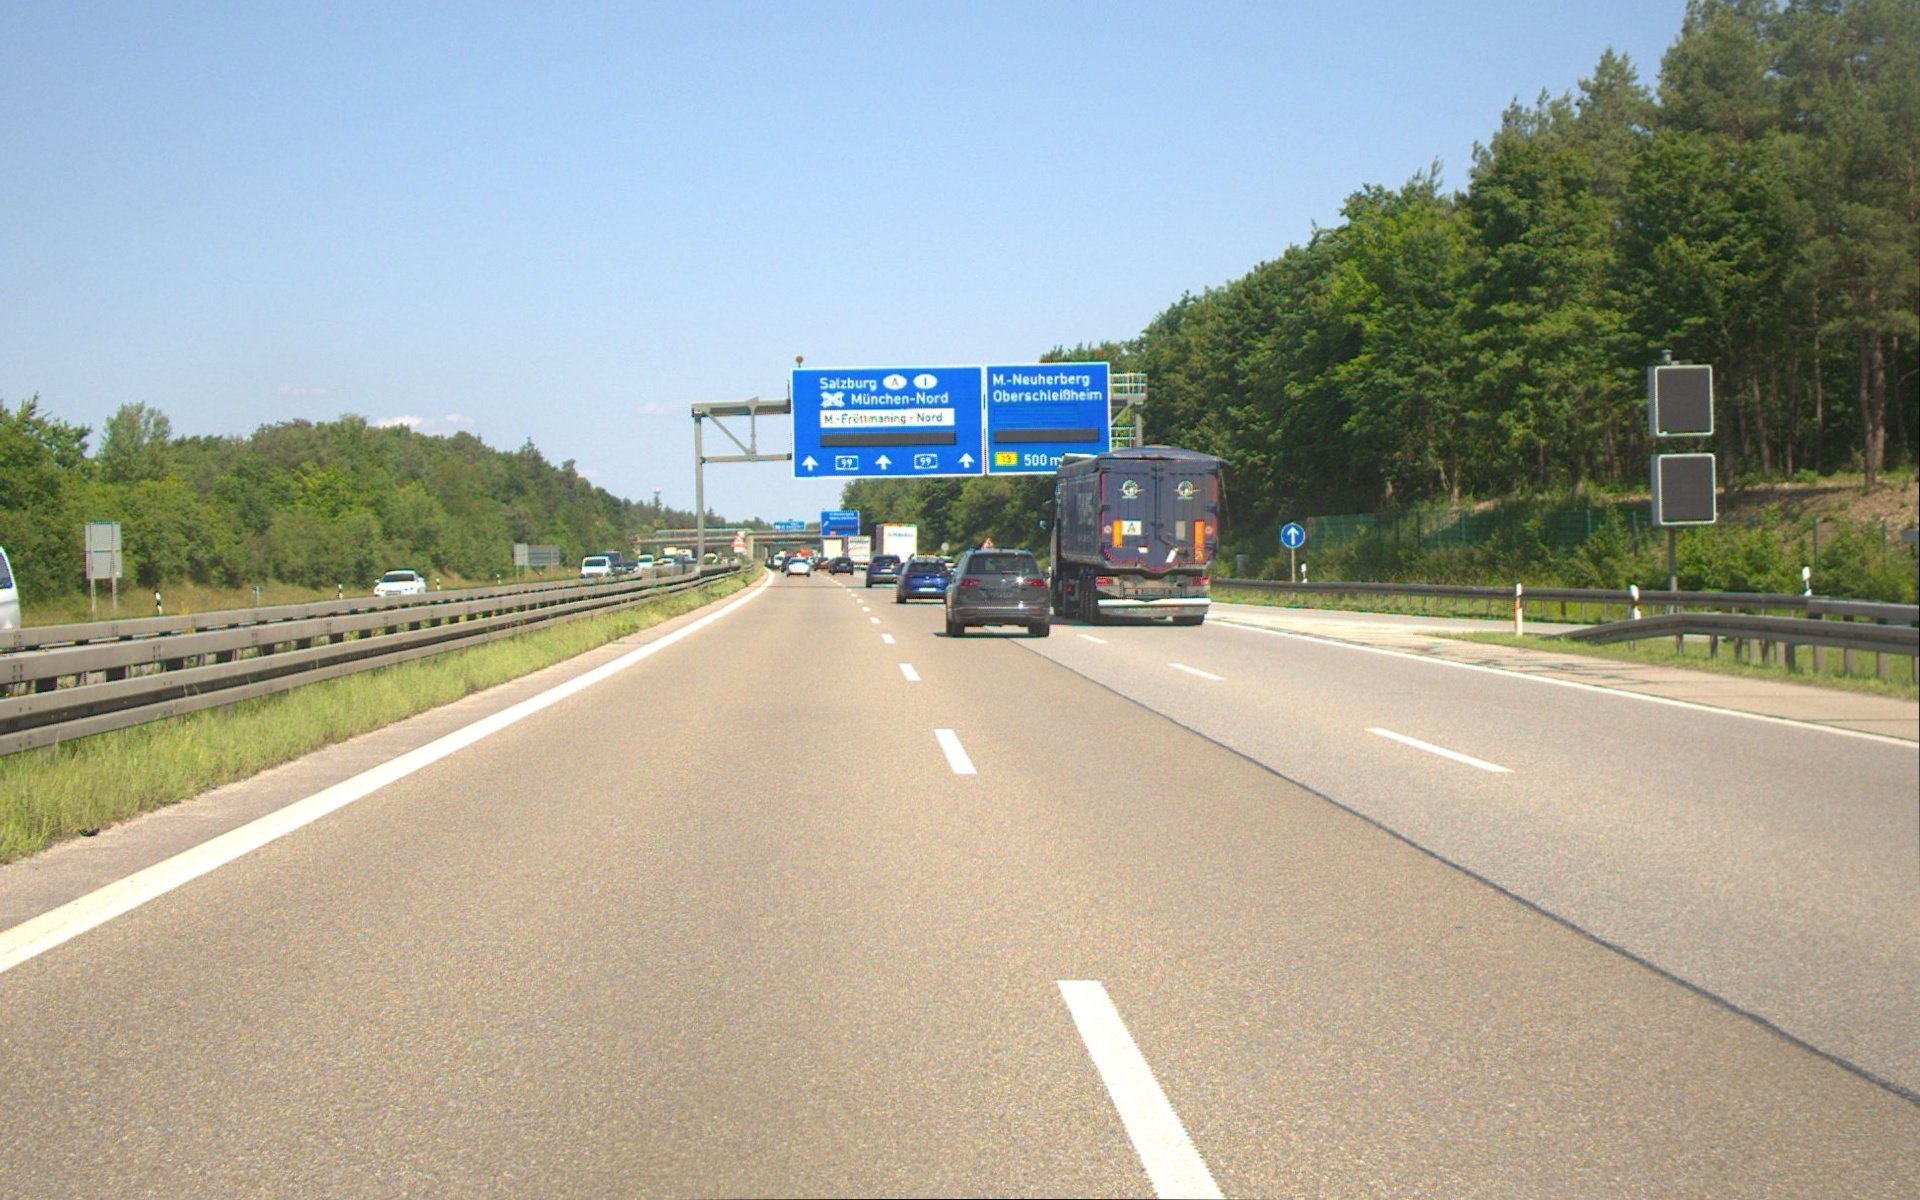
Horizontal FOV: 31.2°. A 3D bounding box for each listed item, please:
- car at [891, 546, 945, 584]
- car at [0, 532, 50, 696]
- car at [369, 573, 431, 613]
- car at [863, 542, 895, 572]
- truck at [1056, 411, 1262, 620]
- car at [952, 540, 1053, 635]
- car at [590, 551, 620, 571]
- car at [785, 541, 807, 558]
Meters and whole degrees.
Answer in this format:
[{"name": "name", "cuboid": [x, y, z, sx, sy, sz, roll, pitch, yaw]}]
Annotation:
[{"name": "car", "cuboid": [-1.348, -1.136, 110.119, 1.708, 1.151, 3.689, -1, 1, -1]}, {"name": "car", "cuboid": [-11.906, 0.175, 38.878, 1.920, 1.866, 5.518, 0, 1, -2]}, {"name": "car", "cuboid": [-23.717, -0.316, 145.812, 1.993, 1.588, 4.301, -1, 1, -1]}, {"name": "car", "cuboid": [-3.932, -2.116, 167.615, 1.471, 1.393, 3.410, 2, 1, -1]}, {"name": "truck", "cuboid": [4.416, -1.923, 79.709, 3.780, 4.407, 14.052, 0, 1, -1]}, {"name": "car", "cuboid": [0.831, -0.262, 64.576, 1.799, 1.663, 4.258, 1, 1, 2]}, {"name": "car", "cuboid": [-23.255, -2.556, 225.327, 1.604, 1.295, 3.791, 0, 1, -1]}, {"name": "car", "cuboid": [-12.190, -3.778, 255.541, 1.471, 1.223, 3.410, -1, 1, -1]}]
